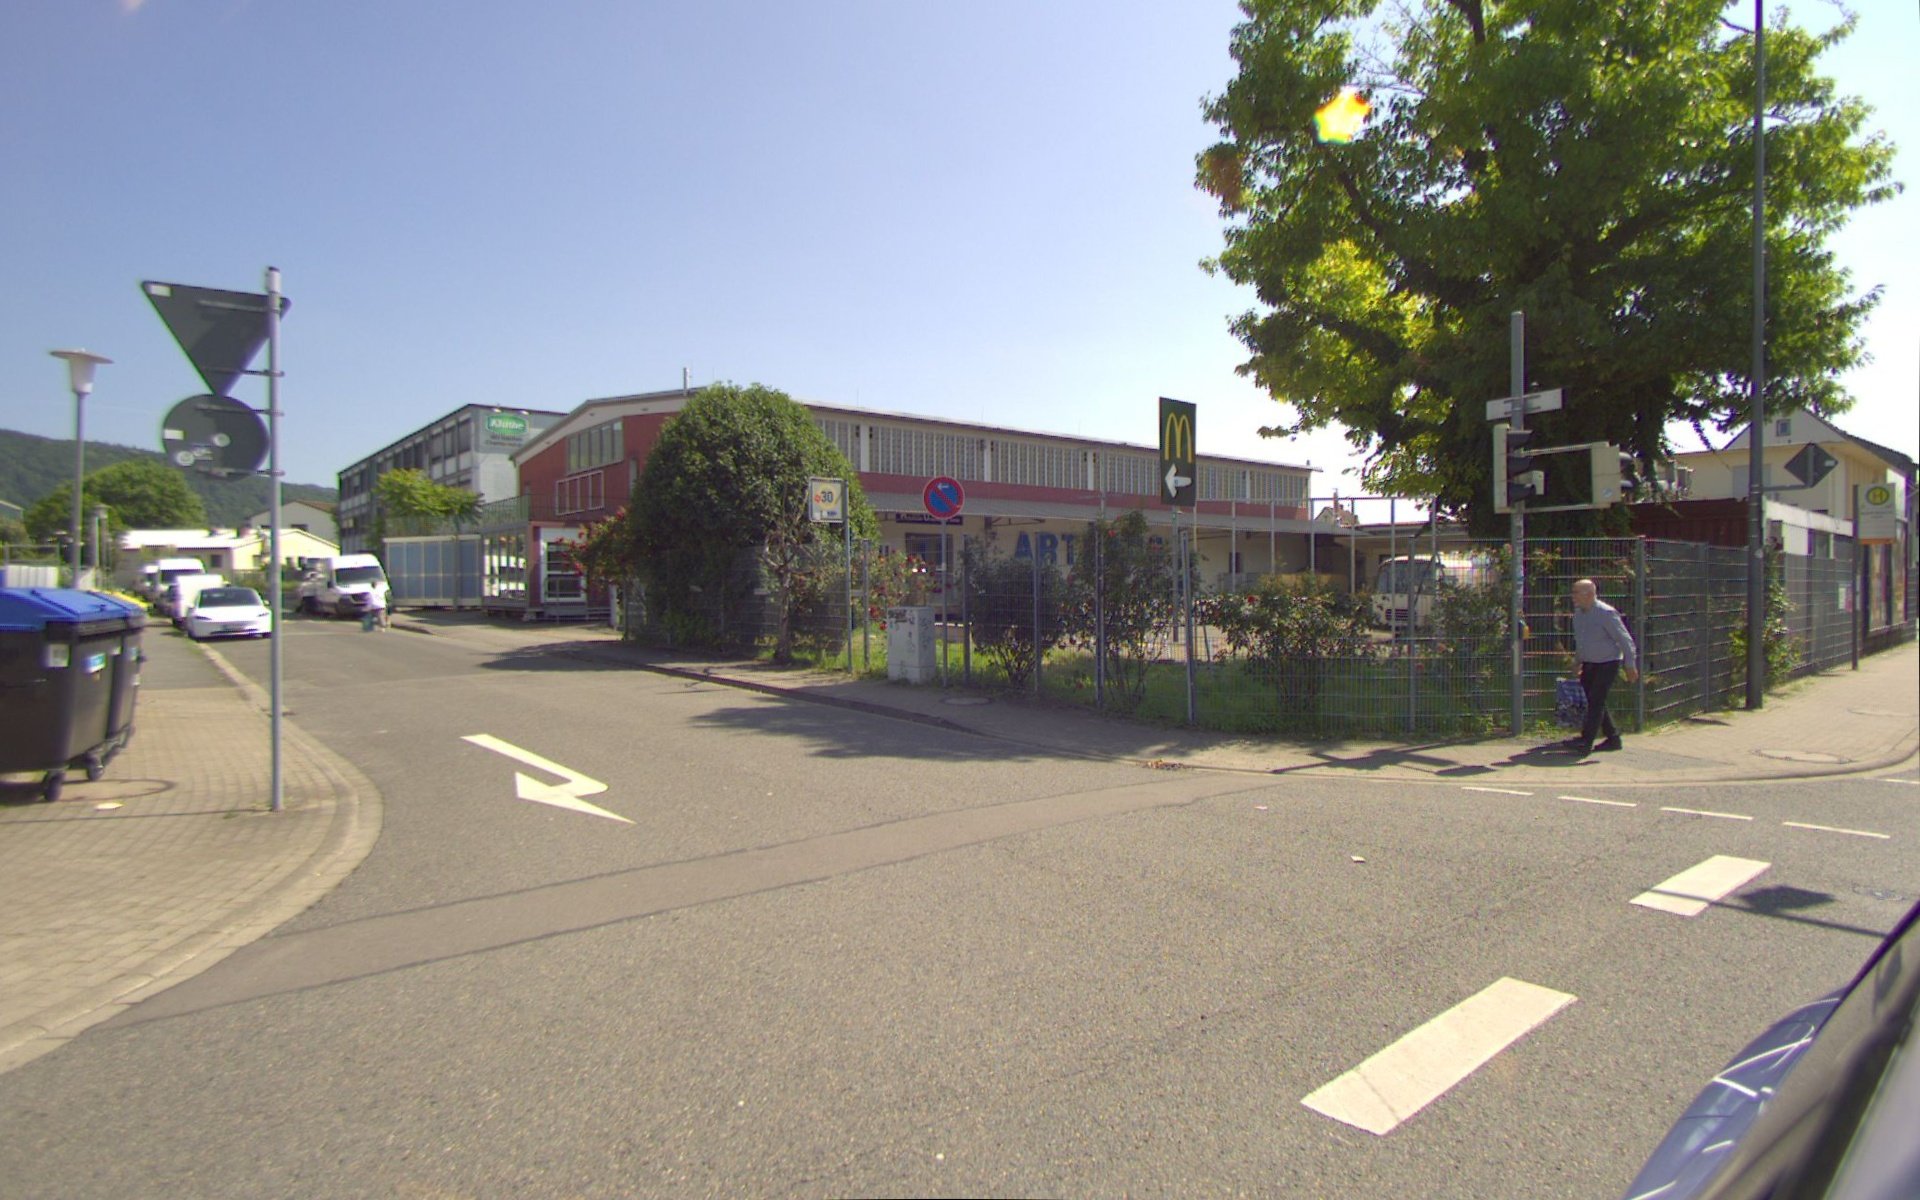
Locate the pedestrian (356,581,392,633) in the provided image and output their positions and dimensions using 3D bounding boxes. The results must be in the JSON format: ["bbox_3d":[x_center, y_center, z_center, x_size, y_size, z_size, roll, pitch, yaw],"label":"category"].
[{"bbox_3d":[-18.453,0.203,31.850,0.868,1.599,0.789,0,0,-40],"label":"pedestrian"}]

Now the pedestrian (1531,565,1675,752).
[{"bbox_3d":[6.227,0.526,9.824,0.869,1.720,0.817,0,1,-25],"label":"pedestrian"}]

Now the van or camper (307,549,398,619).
[{"bbox_3d":[-25.615,-0.647,42.564,2.305,2.713,6.734,0,0,-40],"label":"van or camper"}]

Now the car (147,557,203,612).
[{"bbox_3d":[-38.939,-0.767,50.296,2.072,2.558,5.604,0,0,-37],"label":"car"}]

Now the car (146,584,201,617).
[{"bbox_3d":[-35.154,-0.013,45.318,1.858,1.400,3.998,0,1,-37],"label":"car"}]

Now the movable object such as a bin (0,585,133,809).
[{"bbox_3d":[-6.743,0.634,7.201,1.057,1.475,1.258,2,-1,-29],"label":"movable object such as a bin"}]

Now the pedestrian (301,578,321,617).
[{"bbox_3d":[-28.962,-0.100,45.168,0.697,1.709,0.652,0,0,-41],"label":"pedestrian"}]

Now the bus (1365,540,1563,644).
[{"bbox_3d":[18.097,-0.461,35.901,10.091,3.210,2.570,-3,2,-41],"label":"bus"}]

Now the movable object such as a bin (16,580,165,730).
[{"bbox_3d":[-9.656,0.578,11.314,1.043,1.551,1.335,2,-1,-33],"label":"movable object such as a bin"}]

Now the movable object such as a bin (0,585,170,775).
[{"bbox_3d":[-7.487,0.624,8.599,0.999,1.475,1.291,2,-1,-30],"label":"movable object such as a bin"}]

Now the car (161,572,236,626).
[{"bbox_3d":[-26.505,-0.048,35.287,1.963,1.761,4.296,0,0,-37],"label":"car"}]

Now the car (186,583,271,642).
[{"bbox_3d":[-20.971,0.310,29.008,1.858,1.571,3.998,0,1,-37],"label":"car"}]

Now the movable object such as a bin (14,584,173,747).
[{"bbox_3d":[-8.553,0.604,10.063,1.000,1.494,1.240,2,-1,-33],"label":"movable object such as a bin"}]
